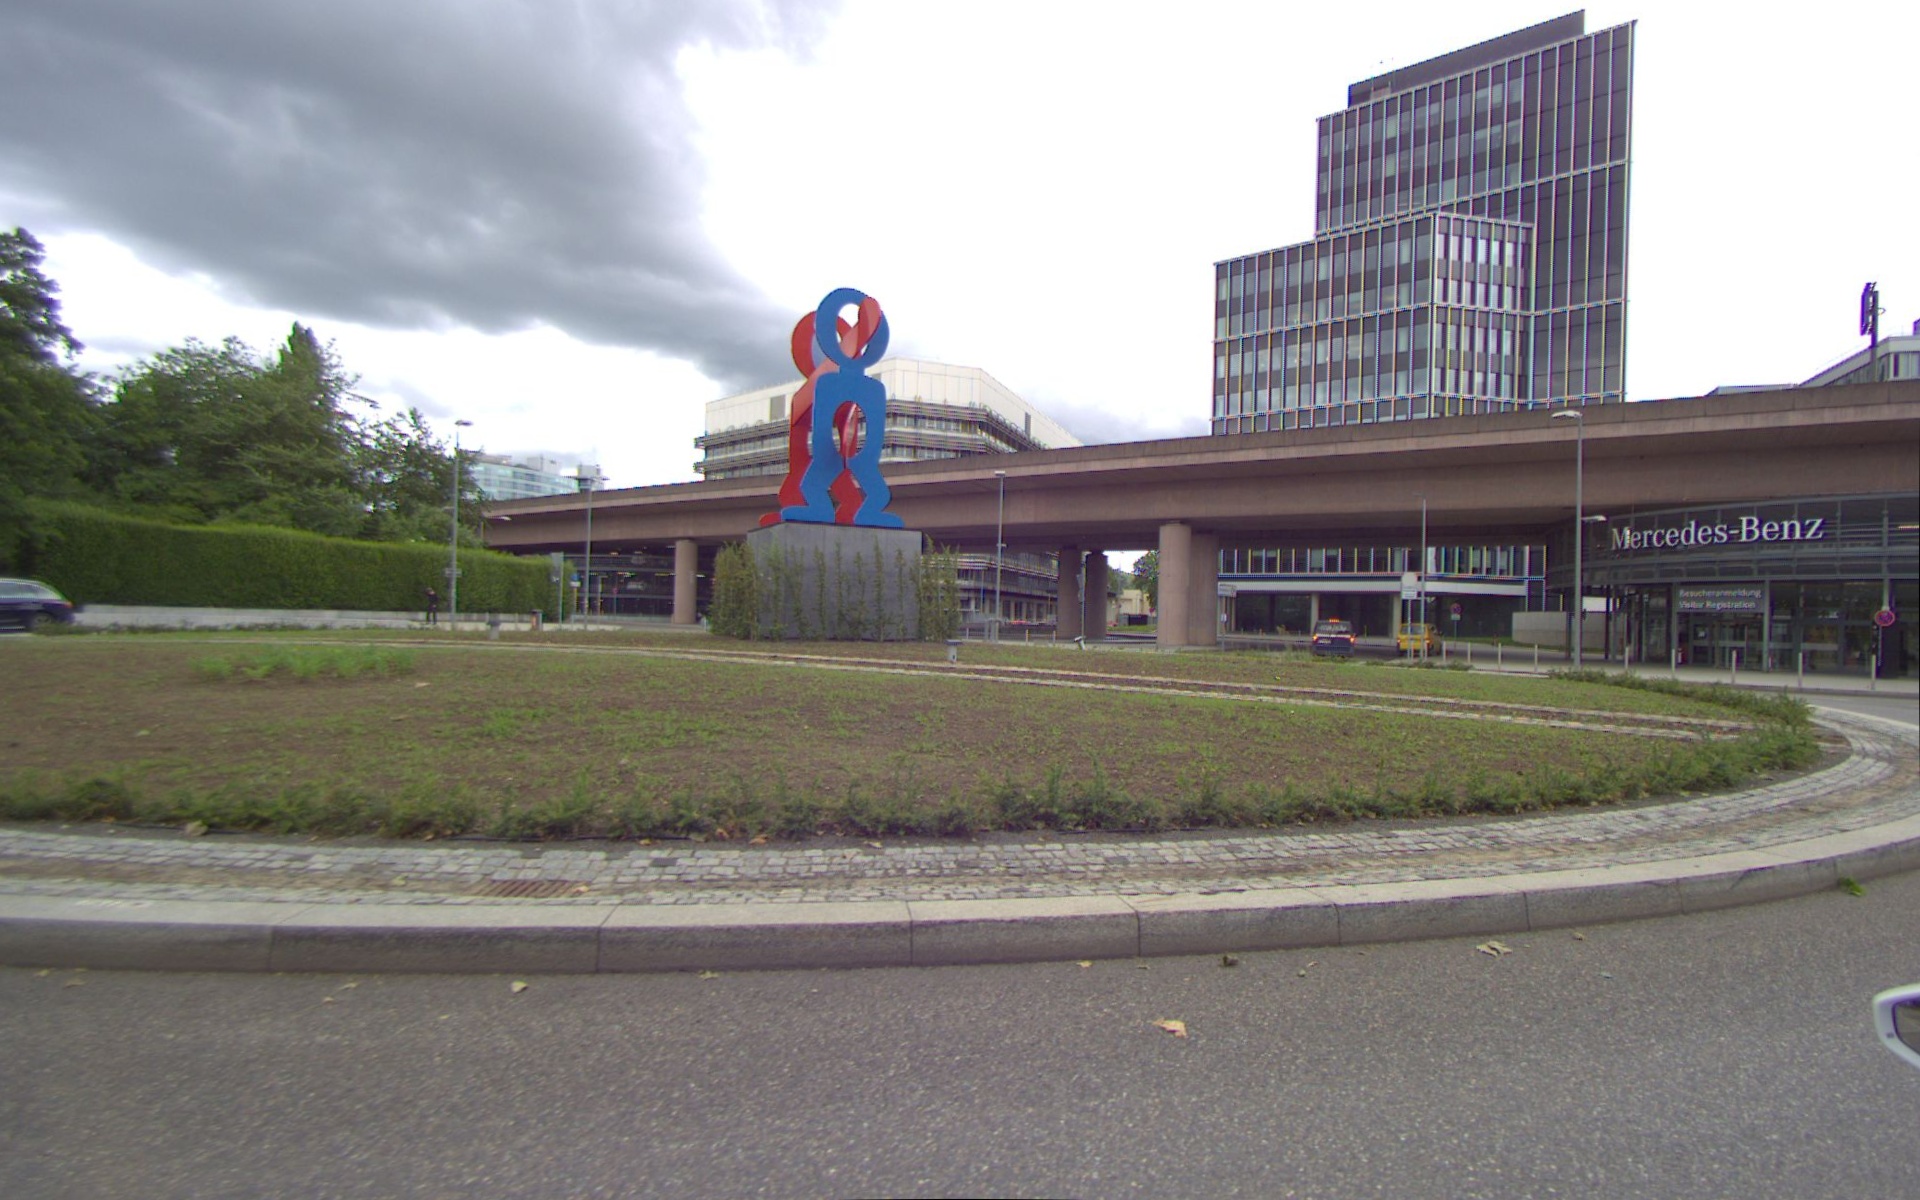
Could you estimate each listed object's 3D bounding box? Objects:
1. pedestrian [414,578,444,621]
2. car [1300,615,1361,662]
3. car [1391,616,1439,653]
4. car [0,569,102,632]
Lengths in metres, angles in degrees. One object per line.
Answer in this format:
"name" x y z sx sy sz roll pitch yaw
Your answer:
"pedestrian" -26.189 -0.019 49.547 1.025 2.040 0.599 2 -1 5
"car" 17.529 1.797 47.782 2.237 2.040 4.786 2 -1 15
"car" 27.223 2.064 59.997 1.966 2.040 3.989 2 -1 33
"car" -23.439 -0.032 23.529 1.959 1.480 4.938 2 -1 10
